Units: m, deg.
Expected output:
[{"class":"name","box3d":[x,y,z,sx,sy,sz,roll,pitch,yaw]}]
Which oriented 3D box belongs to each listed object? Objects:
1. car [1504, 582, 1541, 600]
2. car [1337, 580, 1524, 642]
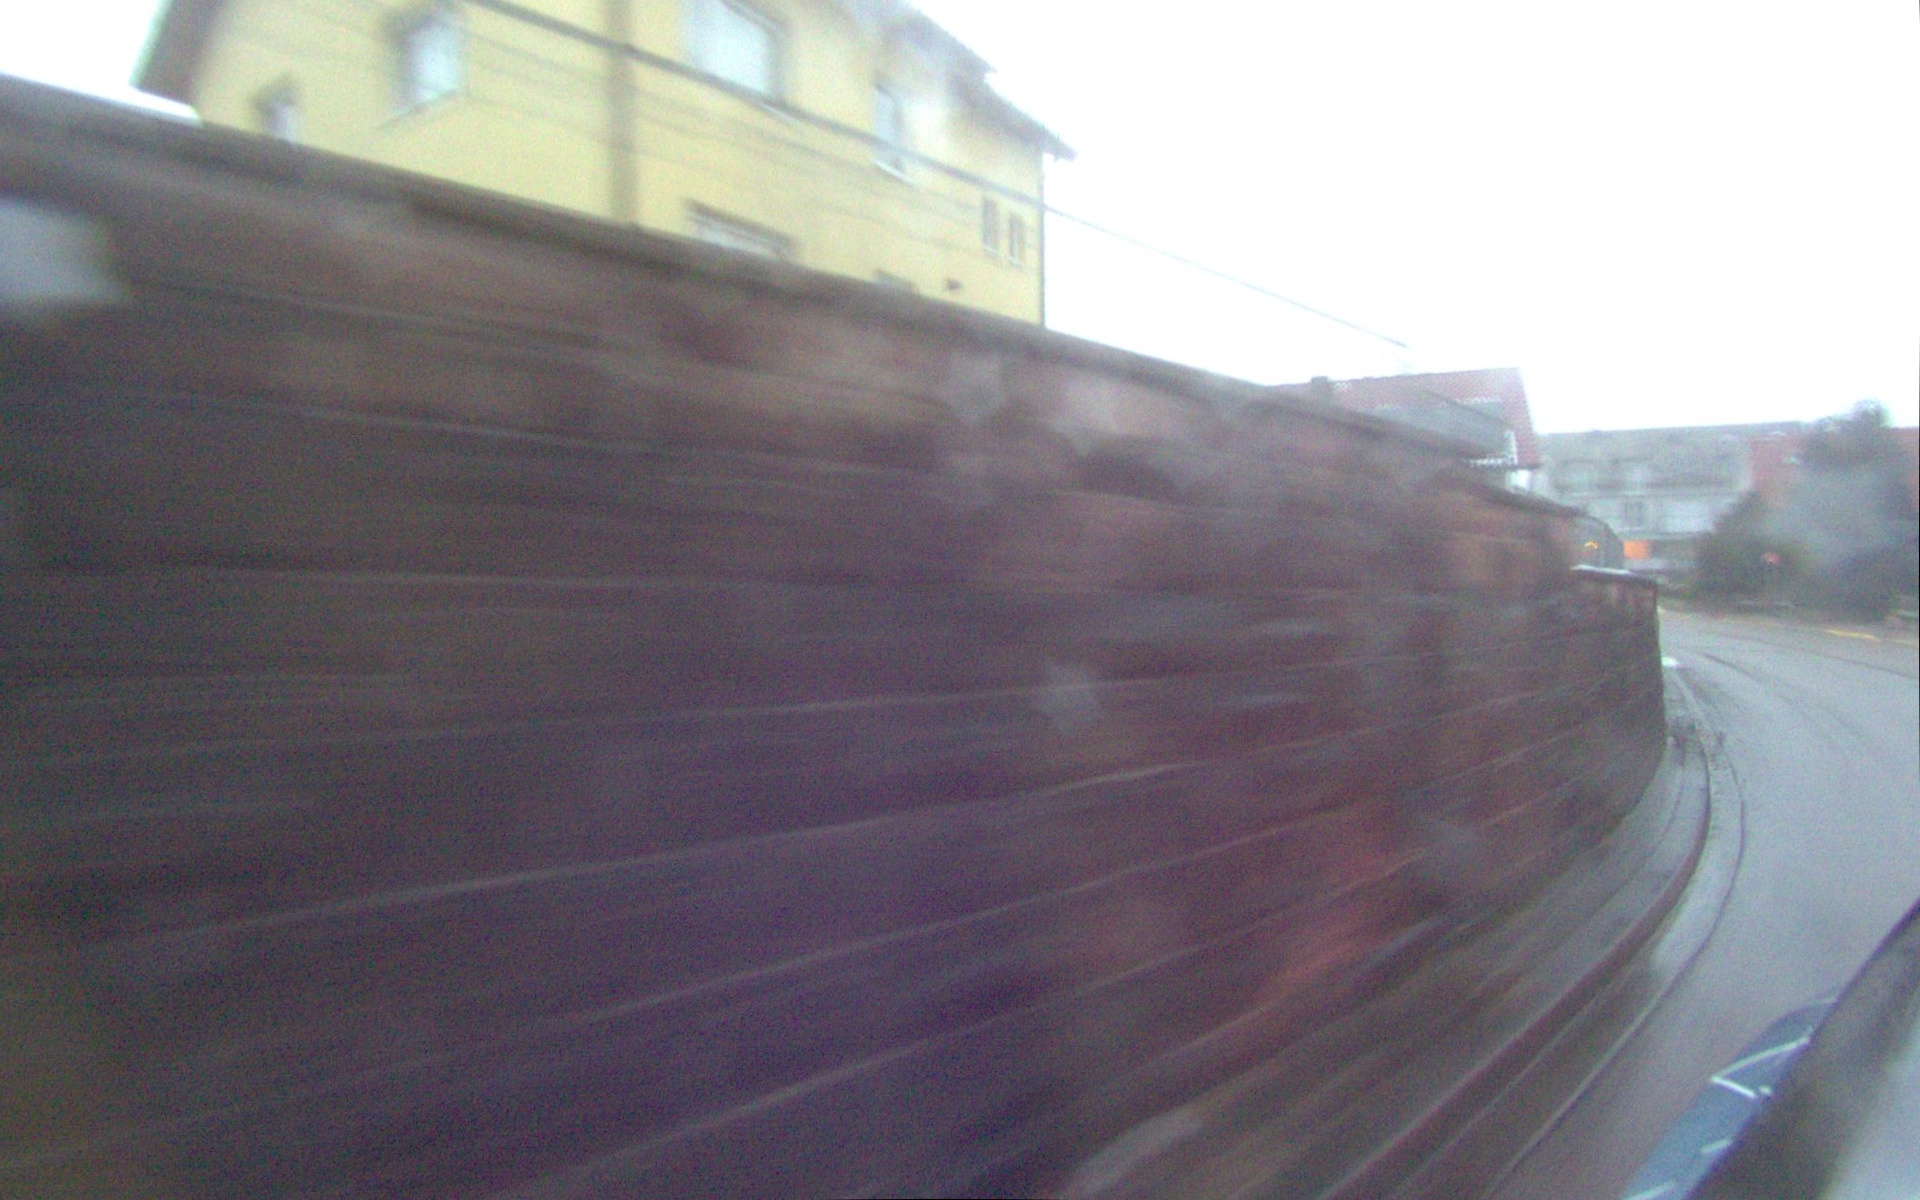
[{"class":"car","box3d":[45.717,-0.730,82.315,1.649,1.427,3.895,0,0,15]},{"class":"car","box3d":[12.855,0.243,27.717,4.482,1.461,1.979,2,2,30]}]
